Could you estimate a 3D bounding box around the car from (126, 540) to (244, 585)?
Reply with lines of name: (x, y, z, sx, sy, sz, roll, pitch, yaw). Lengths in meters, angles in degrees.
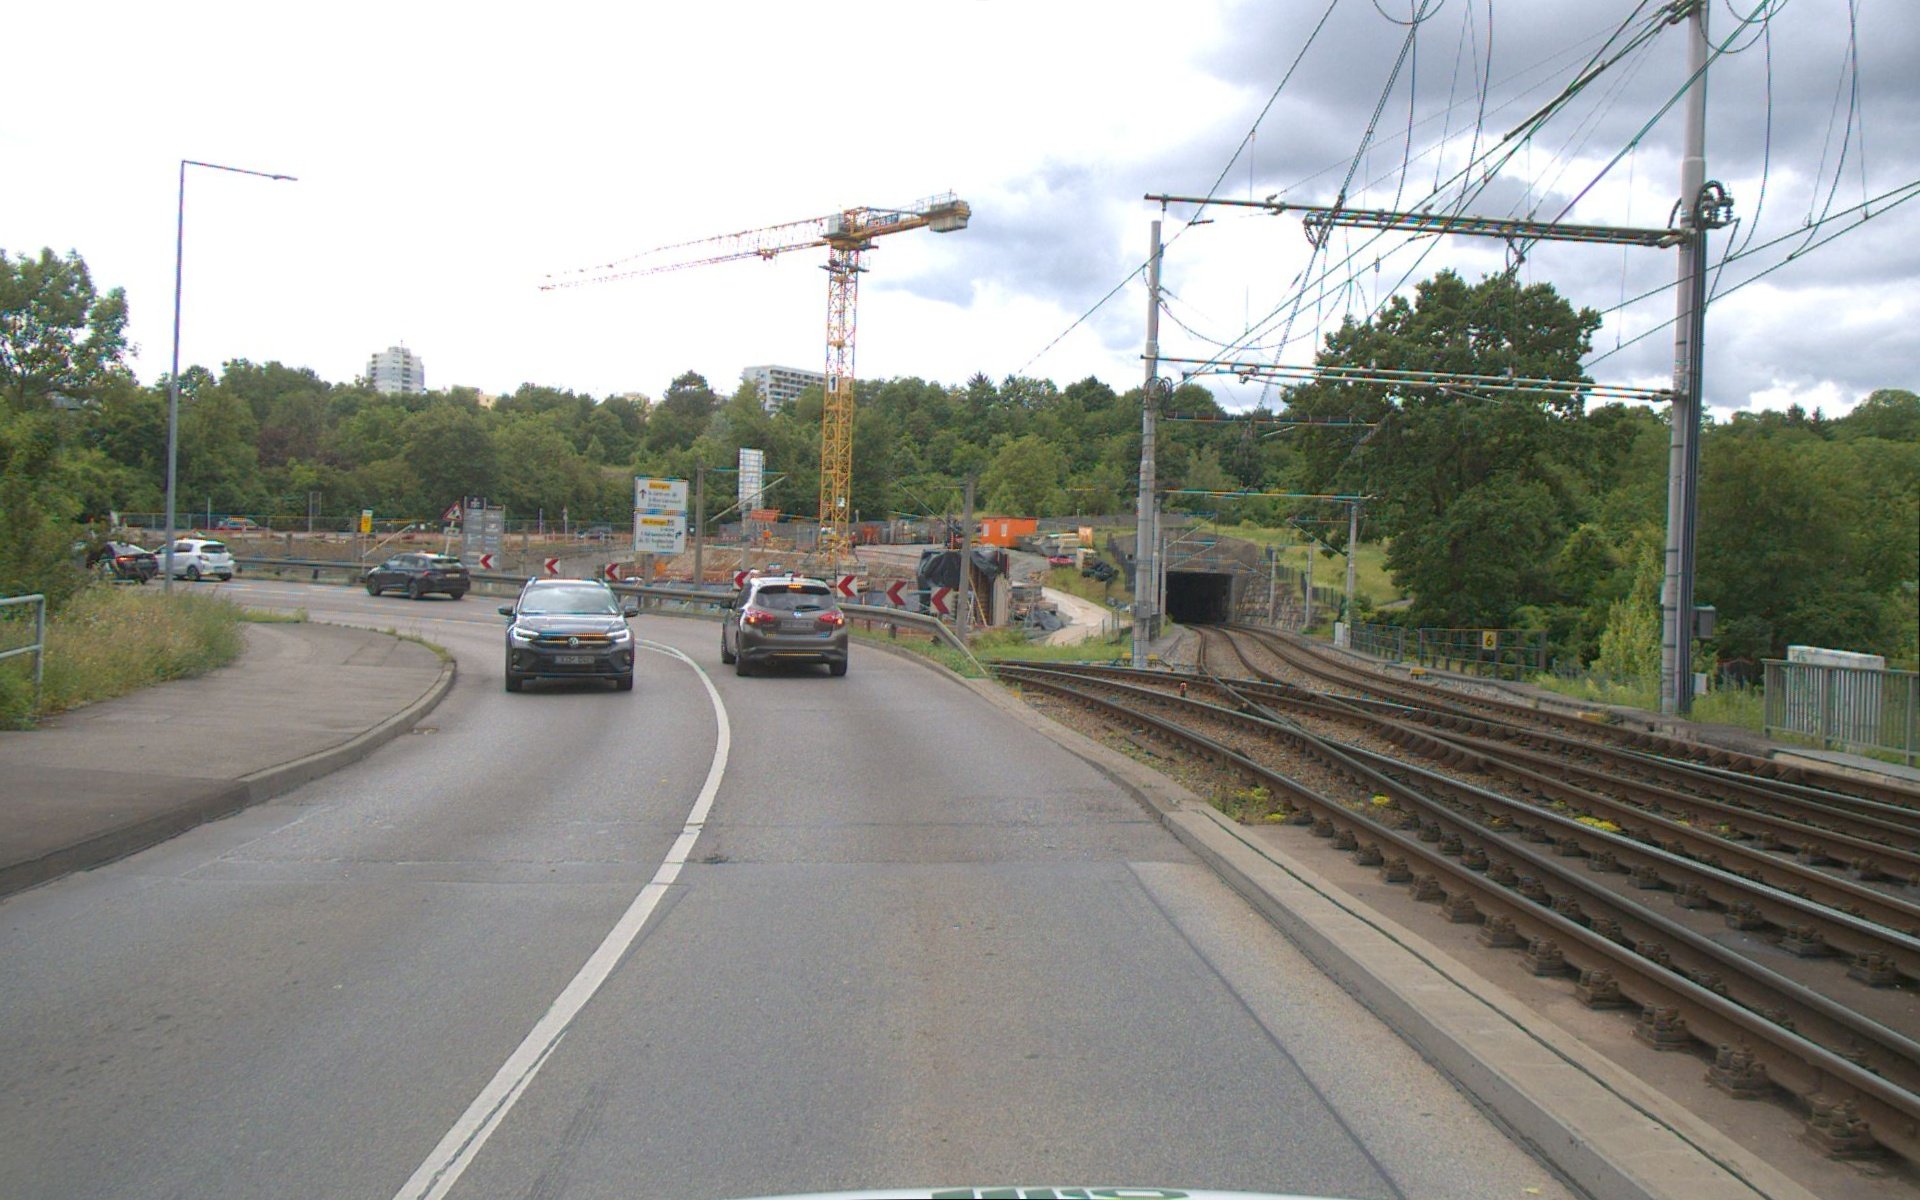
car: (-29.401, -1.424, 62.754, 4.208, 1.634, 1.685, 2, 1, 23)

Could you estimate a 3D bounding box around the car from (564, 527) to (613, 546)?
car: (-32.665, -5.591, 145.523, 3.909, 1.434, 1.798, 3, 0, 26)

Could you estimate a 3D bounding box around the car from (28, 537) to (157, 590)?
car: (-30.875, -1.321, 58.896, 3.903, 1.579, 1.802, 3, 6, 17)

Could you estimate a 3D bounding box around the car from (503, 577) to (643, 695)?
car: (-5.504, 0.450, 23.835, 1.797, 1.536, 3.989, 0, 1, -12)

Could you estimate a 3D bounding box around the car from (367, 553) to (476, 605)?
car: (-18.058, -0.731, 55.368, 4.236, 1.634, 1.674, 2, 2, 44)

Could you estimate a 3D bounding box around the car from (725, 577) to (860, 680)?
car: (-2.835, 0.412, 27.245, 1.797, 1.536, 3.989, 1, 1, -12)
